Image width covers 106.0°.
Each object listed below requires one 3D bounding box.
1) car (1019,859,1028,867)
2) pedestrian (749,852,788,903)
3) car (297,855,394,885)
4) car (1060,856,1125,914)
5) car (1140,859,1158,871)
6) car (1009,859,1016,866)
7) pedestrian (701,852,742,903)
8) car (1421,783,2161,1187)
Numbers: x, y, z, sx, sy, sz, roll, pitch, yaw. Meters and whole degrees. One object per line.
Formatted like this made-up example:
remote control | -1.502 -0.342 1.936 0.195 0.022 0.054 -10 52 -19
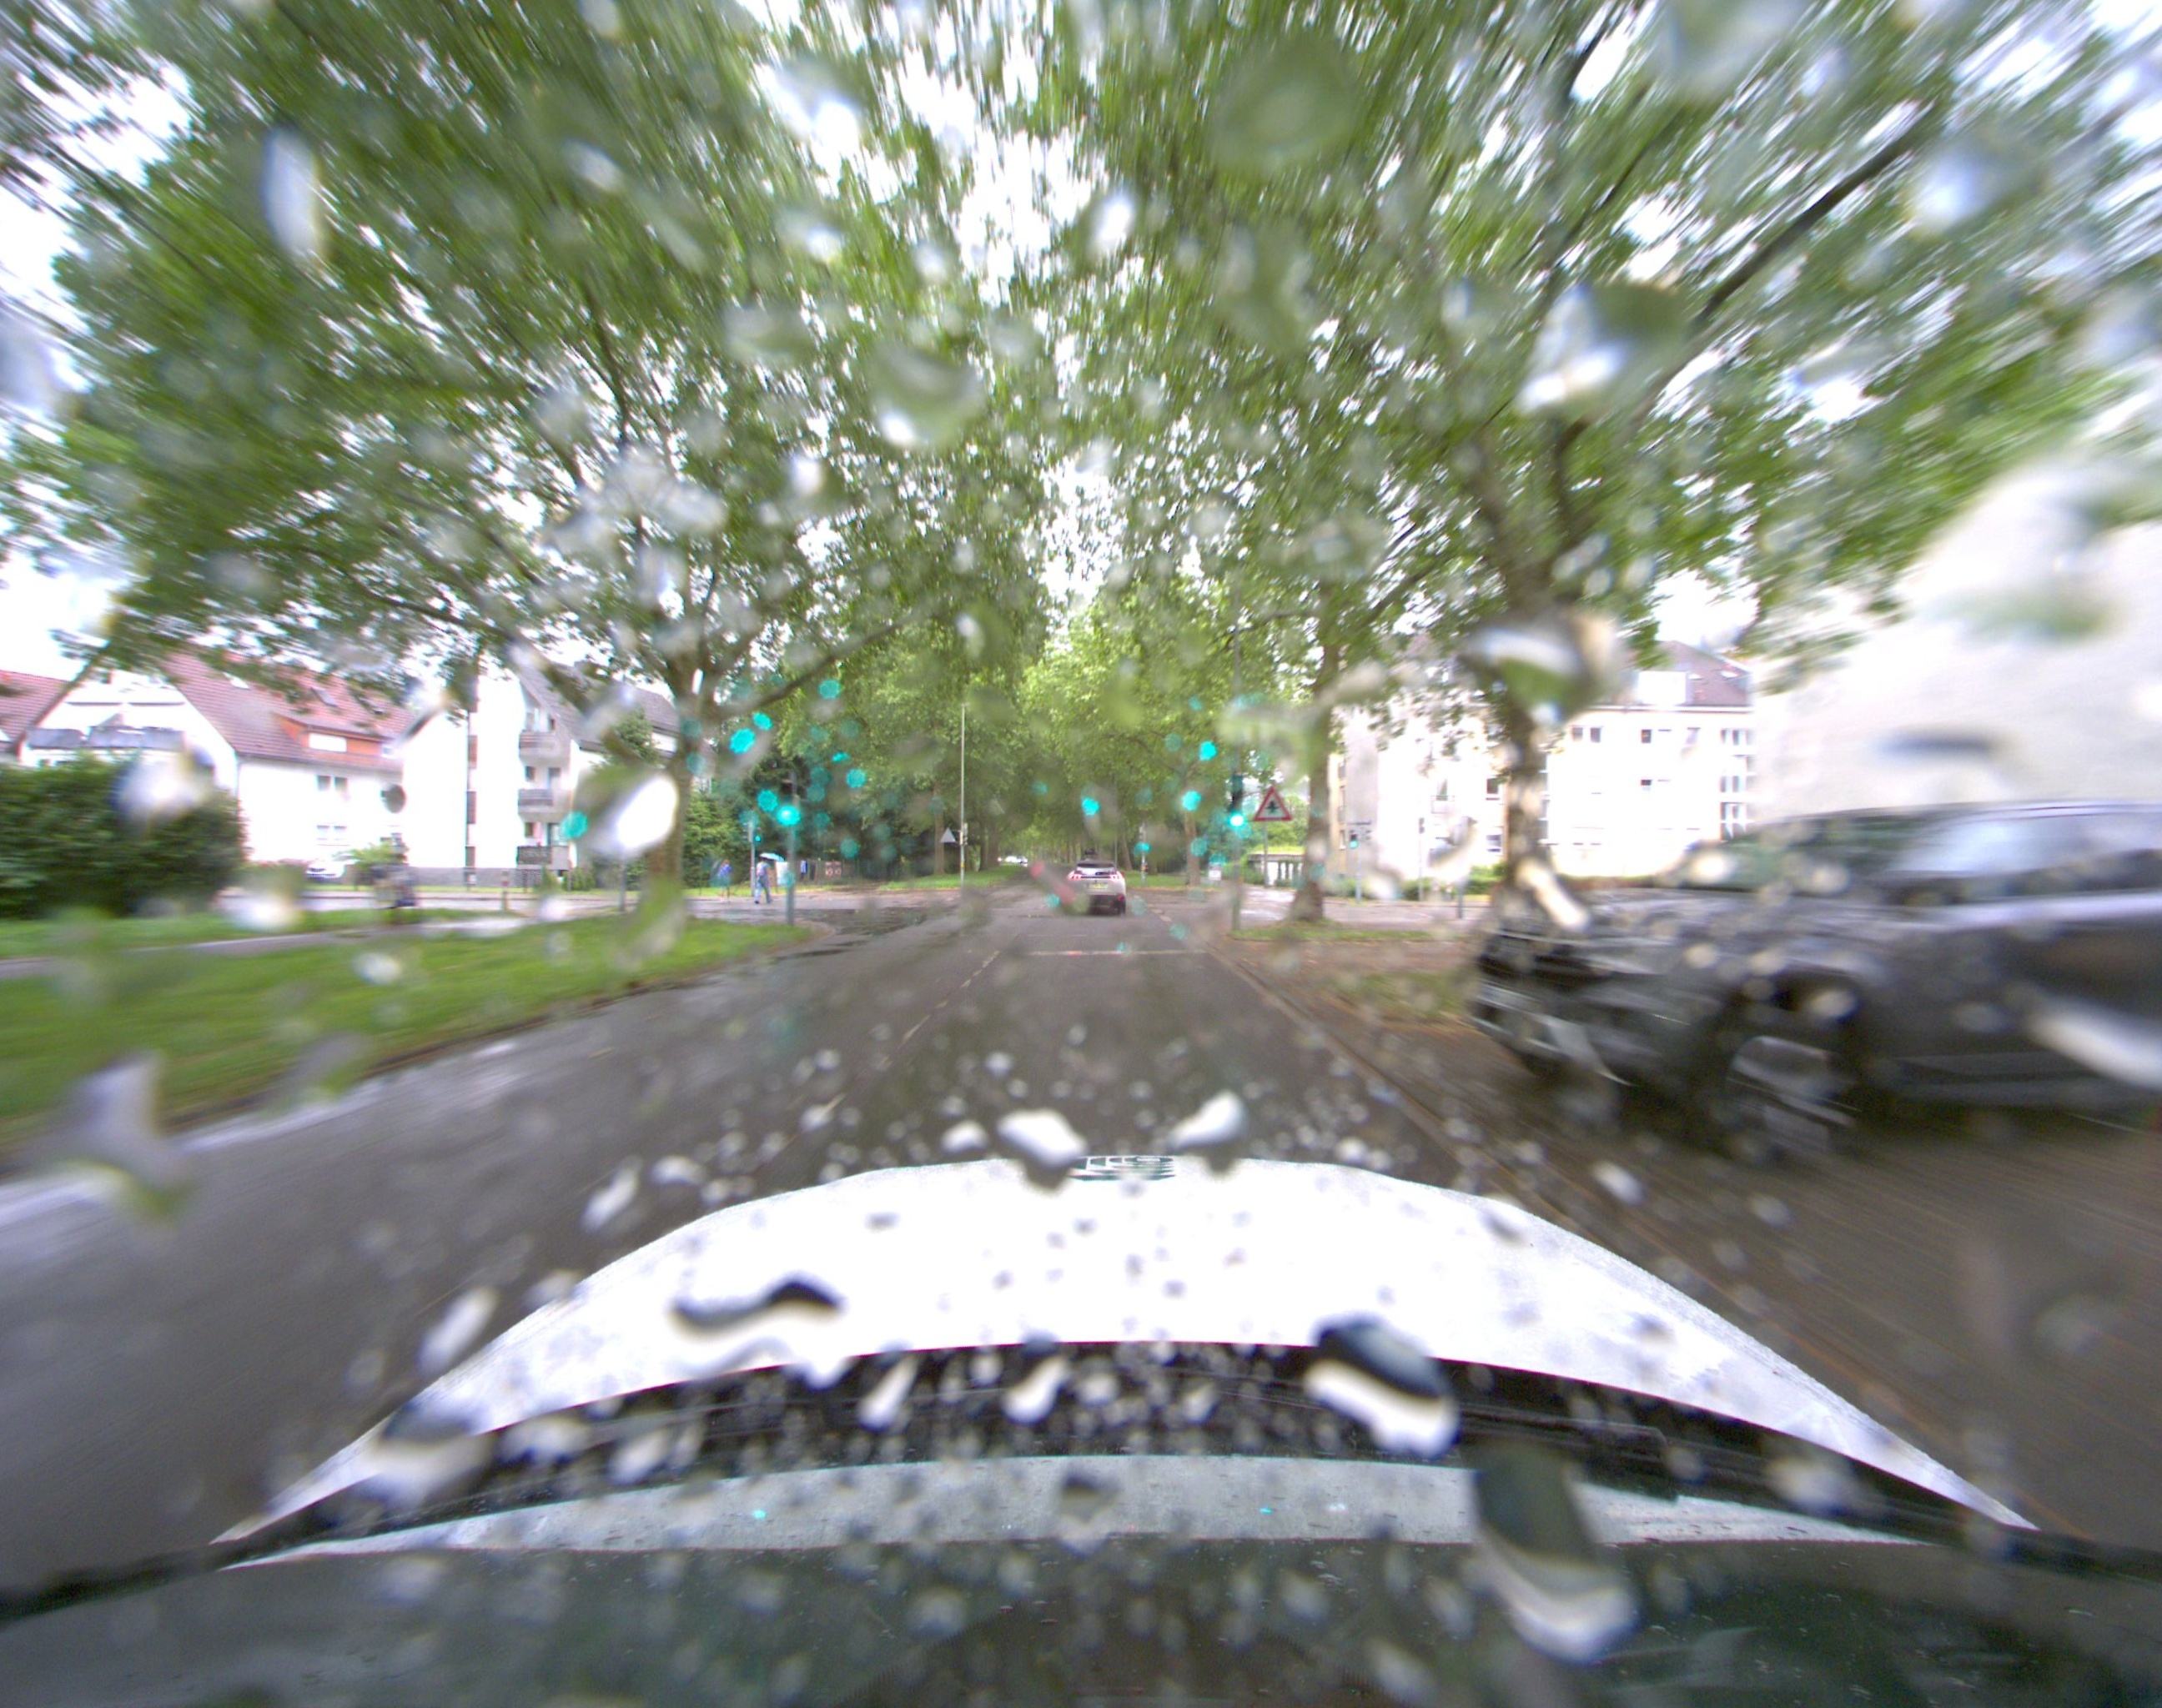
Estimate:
car | -12.589 1.952 178.028 1.868 1.677 3.706 0 -1 -1
pedestrian | -11.109 0.830 29.017 1.028 1.765 0.838 -1 0 3
car | -38.090 0.815 42.289 1.609 1.446 3.659 -1 -1 3
car | 0.384 0.869 24.655 1.773 1.536 4.059 -1 1 2
car | 8.407 1.342 100.435 1.900 1.510 3.930 0 -1 -1
car | -18.347 2.270 217.442 1.737 2.014 3.661 0 -1 -2
pedestrian | -12.730 0.820 28.891 1.028 1.765 0.880 -1 0 3
car | 5.085 0.571 4.900 5.327 1.807 1.842 -2 -1 -4
